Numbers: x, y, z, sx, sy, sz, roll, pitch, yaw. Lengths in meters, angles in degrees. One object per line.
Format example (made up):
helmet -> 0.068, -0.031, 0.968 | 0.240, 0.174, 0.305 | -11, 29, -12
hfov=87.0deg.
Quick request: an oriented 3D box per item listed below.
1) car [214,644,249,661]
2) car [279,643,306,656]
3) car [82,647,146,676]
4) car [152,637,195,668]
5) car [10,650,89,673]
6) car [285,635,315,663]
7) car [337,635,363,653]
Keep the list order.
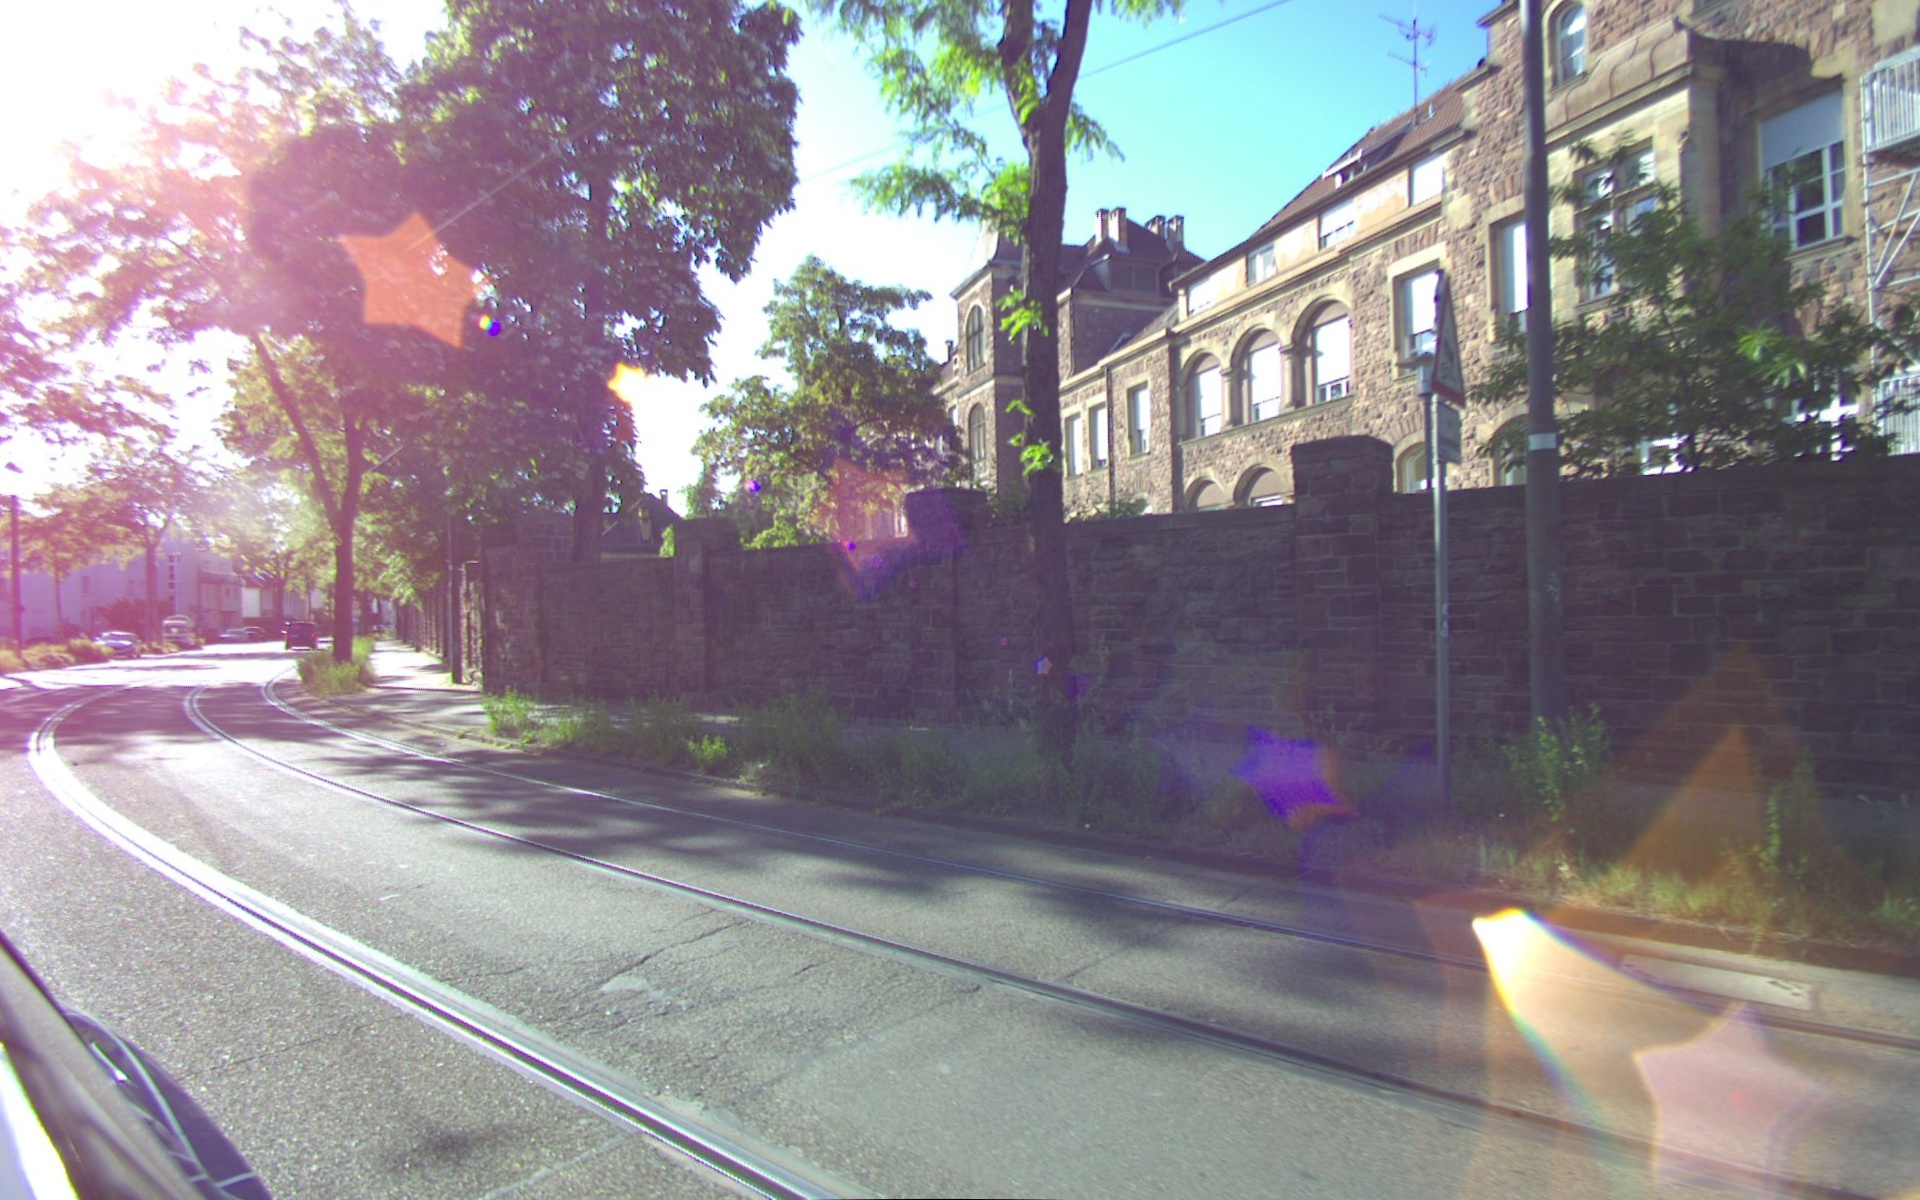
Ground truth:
car -> -72.931, 5.271, 101.319 | 1.713, 1.507, 4.544 | -1, -1, -21
car -> -81.117, 5.999, 123.102 | 1.849, 1.530, 4.664 | -1, -1, -22
car -> -48.896, 3.542, 58.590 | 1.973, 1.476, 5.448 | 3, -3, -31
car -> -57.936, 3.847, 74.596 | 1.966, 2.111, 4.730 | 0, -2, -32
car -> -70.739, 4.728, 78.664 | 2.009, 1.501, 4.401 | 2, 1, 42
car -> -45.316, 3.374, 69.558 | 1.610, 1.806, 4.350 | 0, -2, -32
car -> -92.497, 6.669, 153.480 | 2.259, 2.609, 5.737 | -1, -1, -20
